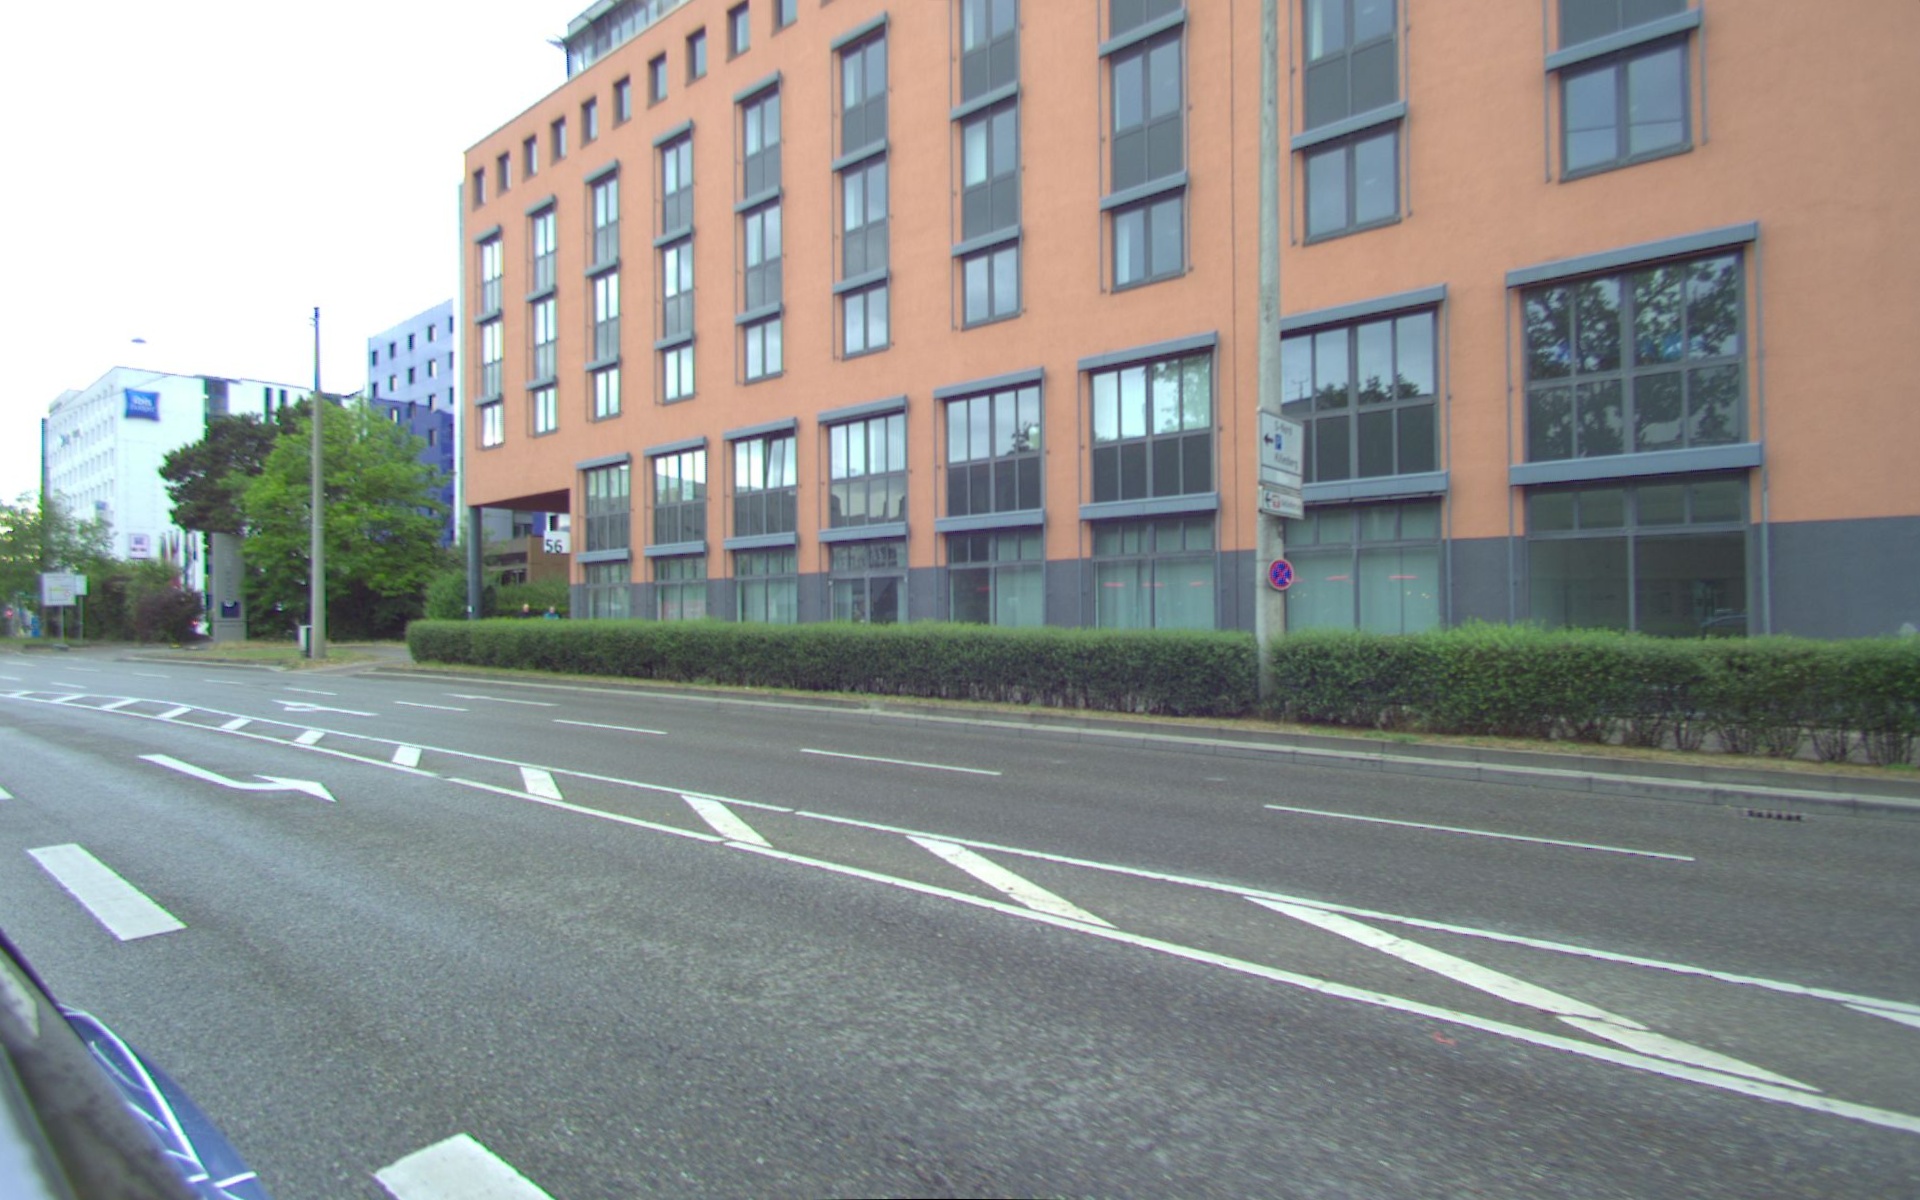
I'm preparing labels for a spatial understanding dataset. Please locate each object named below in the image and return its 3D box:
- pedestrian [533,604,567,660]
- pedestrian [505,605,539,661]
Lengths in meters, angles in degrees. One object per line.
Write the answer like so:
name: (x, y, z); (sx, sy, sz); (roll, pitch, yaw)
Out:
pedestrian: (-14.117, 1.092, 34.862); (0.885, 1.855, 0.738); (-1, 0, 39)
pedestrian: (-14.844, 1.095, 34.301); (0.885, 1.855, 0.738); (-1, 0, 39)
